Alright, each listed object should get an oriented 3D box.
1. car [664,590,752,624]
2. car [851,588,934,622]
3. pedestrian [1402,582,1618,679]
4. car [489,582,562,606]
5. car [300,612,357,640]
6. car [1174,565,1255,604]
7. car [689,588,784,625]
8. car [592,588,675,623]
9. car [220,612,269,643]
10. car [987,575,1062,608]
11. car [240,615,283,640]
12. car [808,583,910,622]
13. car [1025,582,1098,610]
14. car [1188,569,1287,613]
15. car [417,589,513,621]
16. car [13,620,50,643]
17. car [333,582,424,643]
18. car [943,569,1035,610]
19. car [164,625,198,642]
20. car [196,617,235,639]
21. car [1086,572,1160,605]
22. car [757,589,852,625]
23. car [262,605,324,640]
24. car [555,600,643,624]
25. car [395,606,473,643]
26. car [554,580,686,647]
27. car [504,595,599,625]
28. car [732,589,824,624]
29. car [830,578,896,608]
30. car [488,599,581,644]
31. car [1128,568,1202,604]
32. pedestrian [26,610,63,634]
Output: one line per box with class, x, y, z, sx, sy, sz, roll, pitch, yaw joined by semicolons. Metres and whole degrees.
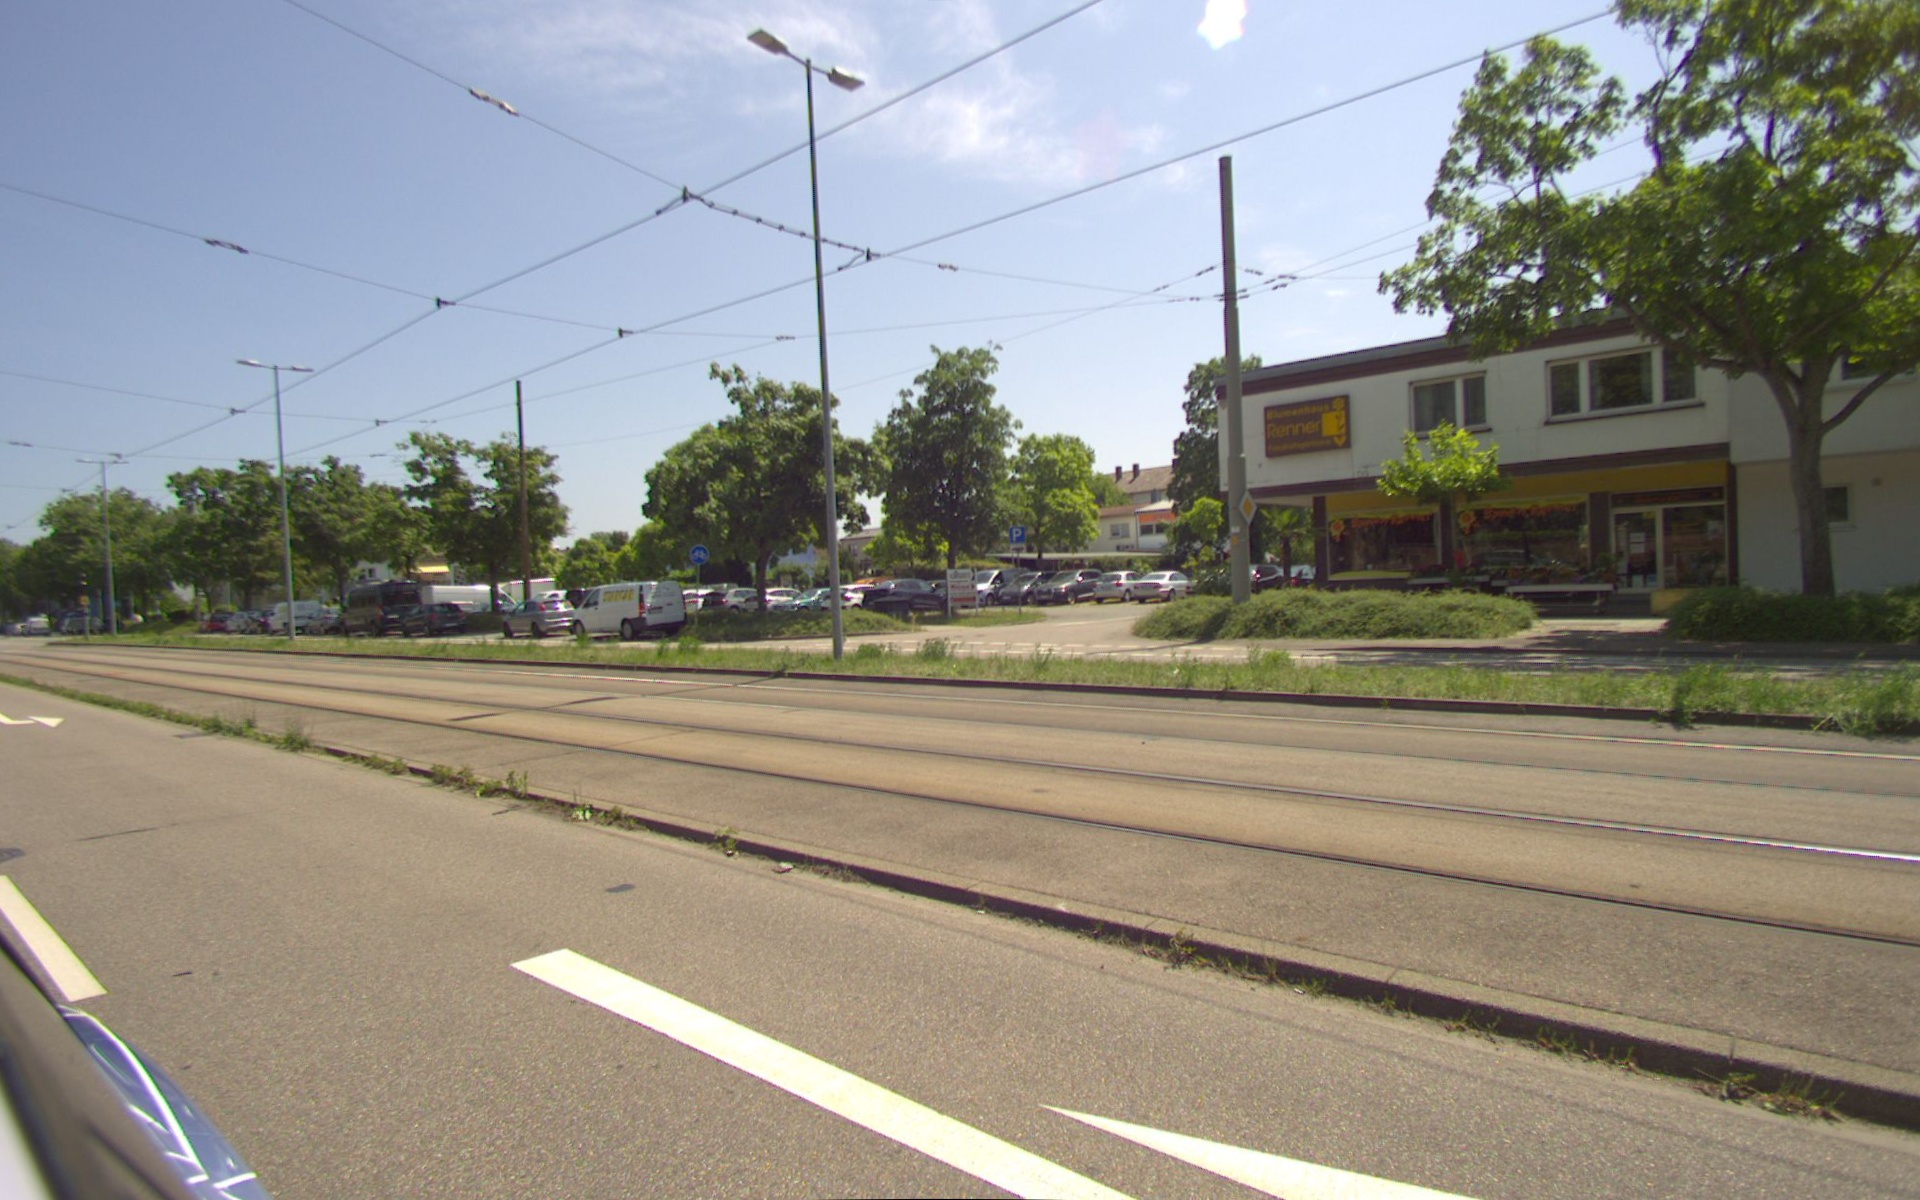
car;-12.338;0.317;49.784;1.827;1.501;4.030;-2;1;34
car;-2.708;0.191;41.121;1.639;1.241;3.386;-2;1;34
pedestrian;12.495;0.639;23.099;3.997;2.029;1.973;-1;0;40
car;-39.127;-0.525;91.304;2.145;2.078;5.674;-1;0;38
car;-34.684;1.401;55.536;3.608;1.475;1.744;-1;0;42
car;11.417;-0.695;45.244;1.804;1.669;3.943;-1;0;43
car;-10.463;0.287;47.616;2.018;1.501;4.117;-2;1;34
car;-17.866;0.305;55.504;1.794;1.730;3.951;-2;1;37
car;-46.958;1.782;66.379;4.494;1.907;1.614;-1;0;41
car;3.365;-0.453;52.501;1.804;1.669;3.943;-1;0;43
car;-43.312;1.702;62.738;3.261;1.489;1.411;-1;0;41
car;-4.283;0.085;43.246;1.983;1.501;4.120;-2;1;39
car;5.094;-0.213;50.350;1.764;1.294;3.675;-1;0;43
car;9.673;-0.327;35.111;1.682;1.306;3.944;-3;1;42
car;-32.837;0.296;67.281;2.029;1.970;5.363;-1;0;42
car;-85.782;2.914;93.510;4.208;2.005;1.799;-1;0;38
car;-28.794;0.604;50.064;5.666;2.859;2.215;-1;0;42
car;1.582;-0.554;54.147;2.225;2.085;5.055;-1;0;41
car;-60.539;2.591;78.599;3.423;1.167;1.561;-1;0;43
car;-51.765;1.933;70.338;3.423;1.491;1.561;-1;0;43
car;7.991;-0.587;49.371;1.661;1.531;3.943;-1;0;43
car;-6.776;0.280;44.438;1.908;1.501;3.995;-1;0;34
car;-39.137;1.301;59.333;4.816;1.963;1.899;-1;0;42
car;-20.161;0.672;56.651;2.030;1.152;4.210;-2;1;37
car;-23.911;1.085;45.967;3.751;1.589;1.950;-1;0;42
car;-11.960;0.475;35.393;5.342;2.025;1.856;-1;4;42
car;-24.398;0.578;60.582;1.997;1.588;4.867;-2;1;38
car;-8.310;0.267;46.433;1.855;1.501;4.099;-1;0;34
car;-5.790;-0.437;60.937;1.689;1.665;4.082;-2;0;35
car;-16.676;0.837;39.573;4.124;1.513;1.633;-1;4;42
car;9.601;-0.668;47.253;1.520;1.591;3.943;-1;0;43
pedestrian;-82.471;1.975;91.149;3.997;2.029;1.973;-1;0;41
